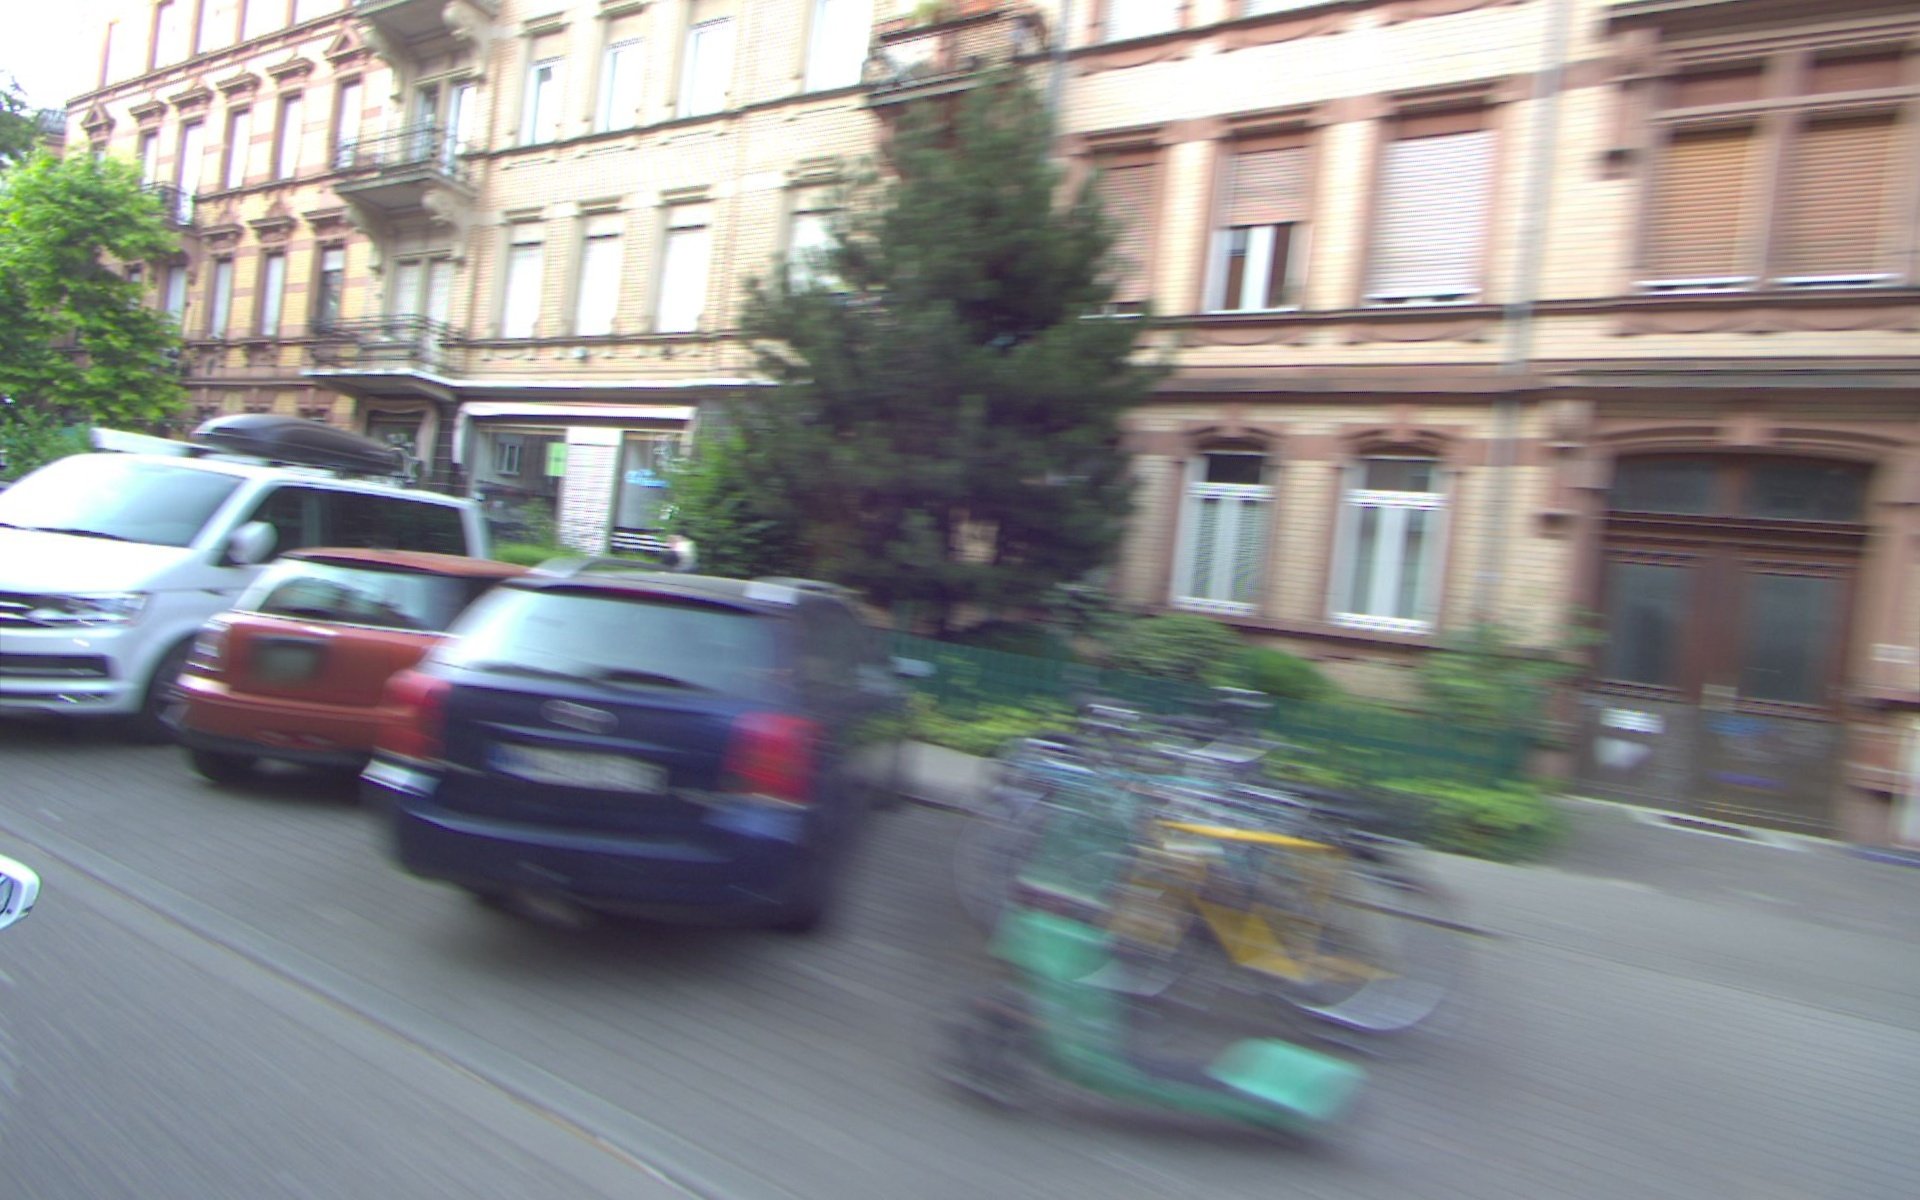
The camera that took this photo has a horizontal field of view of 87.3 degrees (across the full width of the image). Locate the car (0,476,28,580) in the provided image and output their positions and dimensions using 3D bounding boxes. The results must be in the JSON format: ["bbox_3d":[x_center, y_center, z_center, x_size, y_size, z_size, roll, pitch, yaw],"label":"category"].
[{"bbox_3d":[-15.667,-1.142,14.053,1.787,1.611,4.099,6,2,-8],"label":"car"}]

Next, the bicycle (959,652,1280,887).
[{"bbox_3d":[0.958,1.027,6.265,1.780,1.151,0.496,7,2,2],"label":"bicycle"}]

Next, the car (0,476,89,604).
[{"bbox_3d":[-13.165,-0.828,12.093,1.785,1.611,4.104,6,2,-1],"label":"car"}]

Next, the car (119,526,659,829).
[{"bbox_3d":[-3.570,0.412,7.219,1.727,1.426,3.865,6,0,-3],"label":"car"}]

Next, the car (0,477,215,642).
[{"bbox_3d":[-10.570,-0.510,10.891,1.851,1.611,4.162,7,2,-1],"label":"car"}]

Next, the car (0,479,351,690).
[{"bbox_3d":[-8.209,-0.211,9.783,1.851,1.610,4.166,7,0,1],"label":"car"}]

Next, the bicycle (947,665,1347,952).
[{"bbox_3d":[0.899,1.026,5.048,1.782,1.151,0.496,7,2,-5],"label":"bicycle"}]

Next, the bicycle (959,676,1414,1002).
[{"bbox_3d":[0.965,1.041,4.476,1.782,1.151,0.496,7,2,-5],"label":"bicycle"}]

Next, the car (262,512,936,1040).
[{"bbox_3d":[-1.274,0.600,5.289,1.813,1.535,3.868,7,0,3],"label":"car"}]

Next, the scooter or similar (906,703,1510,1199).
[{"bbox_3d":[0.667,1.015,3.014,1.456,1.165,0.656,7,2,5],"label":"scooter or similar"}]

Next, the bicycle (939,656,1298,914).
[{"bbox_3d":[0.846,1.009,5.592,1.782,1.151,0.496,7,2,-5],"label":"bicycle"}]

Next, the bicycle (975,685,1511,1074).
[{"bbox_3d":[1.021,1.031,3.846,1.781,1.151,0.496,7,2,-2],"label":"bicycle"}]

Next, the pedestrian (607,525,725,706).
[{"bbox_3d":[-3.066,0.153,10.509,0.812,1.773,0.685,6,2,28],"label":"pedestrian"}]

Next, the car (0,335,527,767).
[{"bbox_3d":[-5.817,-0.332,8.210,1.962,2.391,4.939,7,0,3],"label":"car"}]
